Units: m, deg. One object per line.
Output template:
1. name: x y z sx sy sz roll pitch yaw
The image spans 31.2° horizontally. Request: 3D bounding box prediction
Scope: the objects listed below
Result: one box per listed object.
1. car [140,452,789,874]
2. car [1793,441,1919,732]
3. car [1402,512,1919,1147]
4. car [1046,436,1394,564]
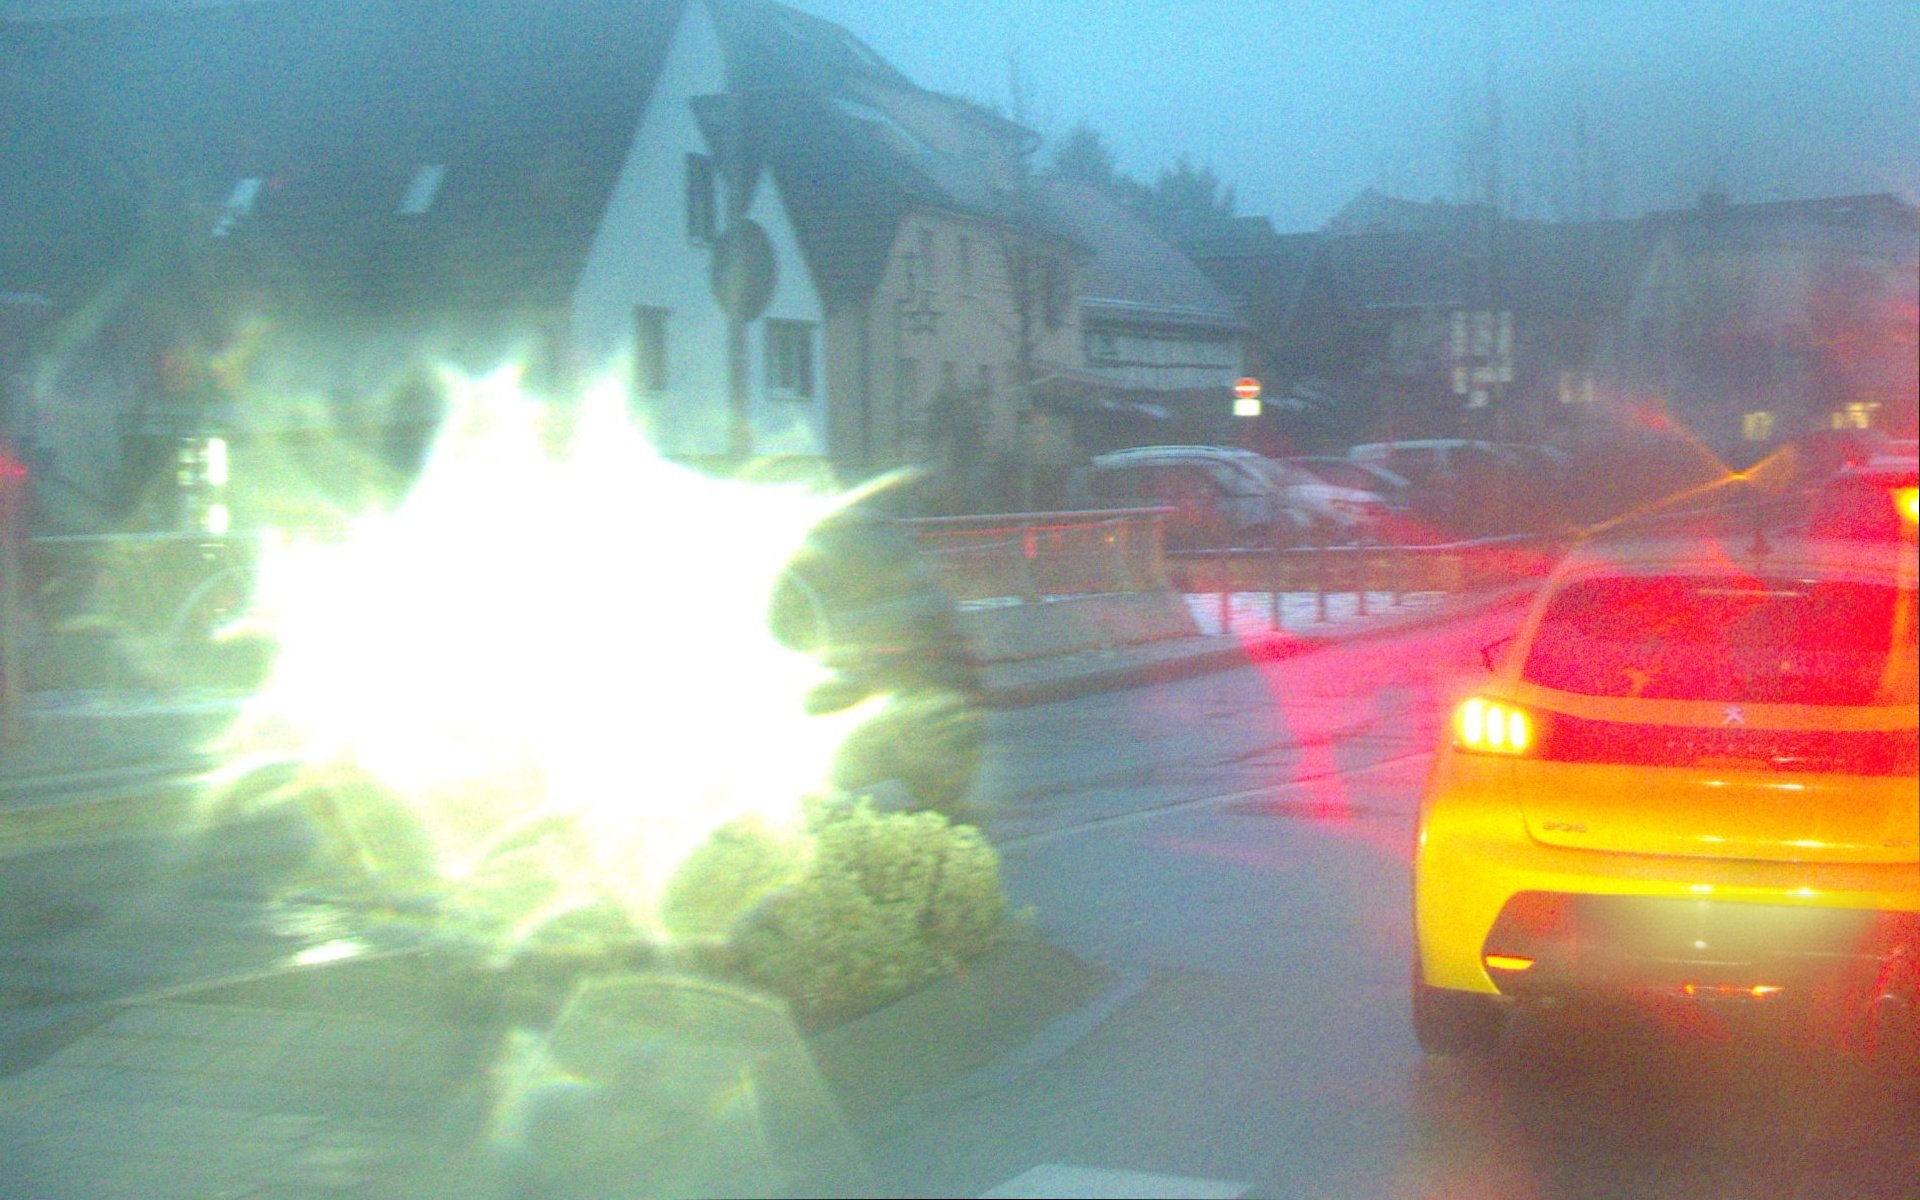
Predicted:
1. car: -1.969 0.145 14.930 1.741 1.563 4.061 0 3 8
2. car: 6.352 -0.158 21.137 1.918 1.609 3.947 0 3 21
3. car: 2.424 0.498 10.196 1.711 1.417 4.010 1 3 15
4. car: 3.454 -1.324 45.413 4.311 1.634 1.845 0 3 15
